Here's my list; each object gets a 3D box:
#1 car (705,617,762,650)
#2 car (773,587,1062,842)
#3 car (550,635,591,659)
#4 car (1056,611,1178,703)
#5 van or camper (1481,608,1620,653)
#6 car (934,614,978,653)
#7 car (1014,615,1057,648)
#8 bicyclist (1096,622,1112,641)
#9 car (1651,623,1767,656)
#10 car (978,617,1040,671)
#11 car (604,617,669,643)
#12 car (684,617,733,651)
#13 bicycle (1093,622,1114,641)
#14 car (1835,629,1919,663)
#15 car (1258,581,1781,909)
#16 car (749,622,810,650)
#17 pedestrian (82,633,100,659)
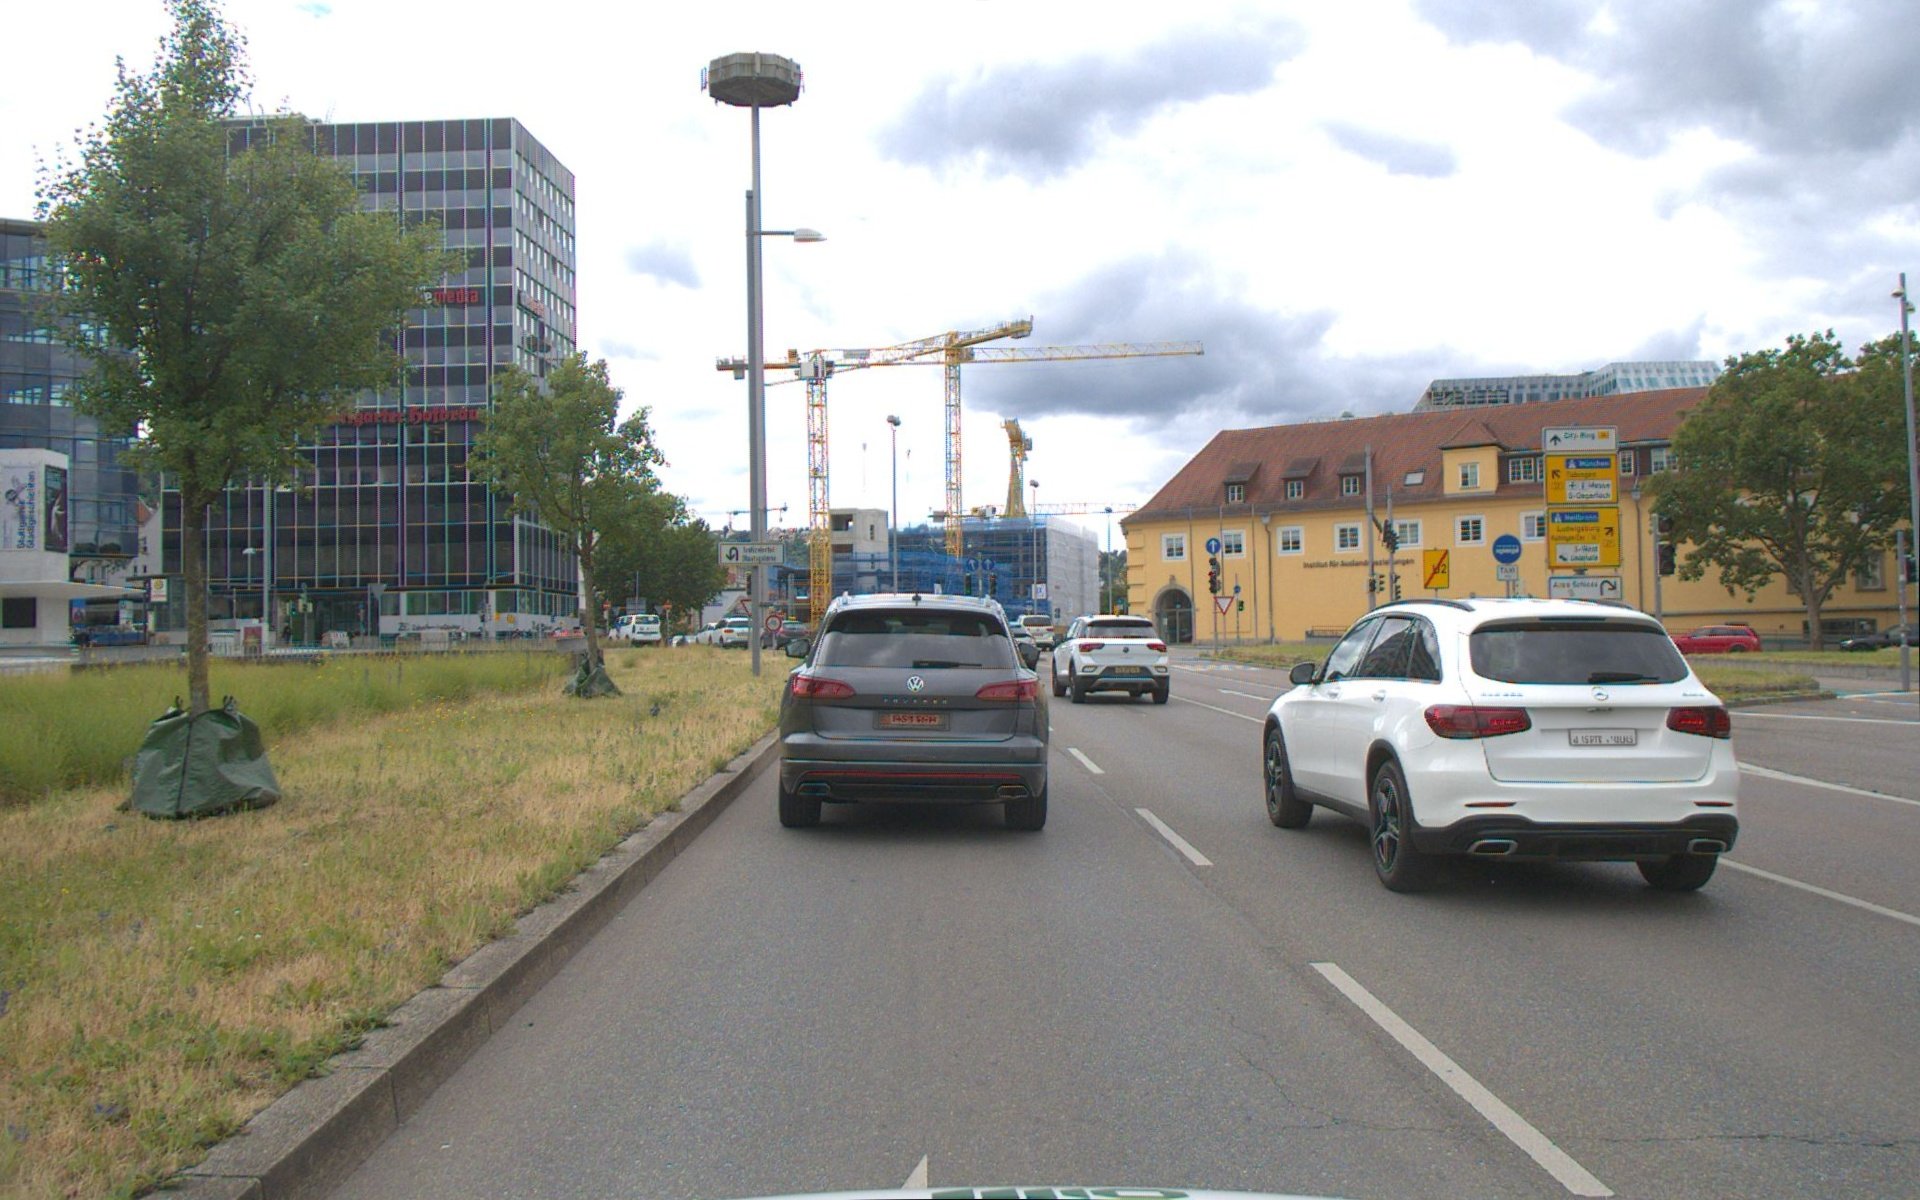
[{"bbox_3d":[-10.888,1.603,79.352,1.789,1.523,3.879,0,-1,-22],"label":"car"},{"bbox_3d":[-0.319,0.766,12.882,1.893,1.676,3.999,0,0,-1],"label":"car"},{"bbox_3d":[-25.933,3.109,110.016,1.700,1.529,3.943,1,-1,-29],"label":"car"},{"bbox_3d":[2.853,1.015,30.839,1.855,1.613,3.800,0,0,-1],"label":"car"},{"bbox_3d":[27.987,1.460,78.489,5.901,2.049,2.013,-1,-2,35],"label":"van or camper"},{"bbox_3d":[-0.144,1.370,68.071,1.683,1.529,3.981,0,-1,1],"label":"car"},{"bbox_3d":[3.523,1.451,77.589,1.766,1.529,3.980,0,0,-1],"label":"car"},{"bbox_3d":[9.161,2.011,105.476,0.905,1.179,0.724,1,-1,-6],"label":"bicyclist"},{"bbox_3d":[33.786,1.784,74.653,4.591,1.445,1.593,-1,-1,31],"label":"car"},{"bbox_3d":[1.405,1.257,48.651,1.683,1.529,4.143,0,0,0],"label":"car"},{"bbox_3d":[-19.710,1.811,100.677,2.226,1.529,4.553,0,-1,-35],"label":"car"},{"bbox_3d":[-15.180,2.027,99.817,1.870,1.638,3.969,-3,4,-25],"label":"car"},{"bbox_3d":[9.165,1.993,105.472,0.905,1.179,2.462,1,-1,-5],"label":"bicycle"},{"bbox_3d":[39.864,1.976,71.024,4.001,1.438,1.655,-1,-1,31],"label":"car"},{"bbox_3d":[3.271,0.755,10.679,1.782,1.676,4.377,0,0,-2],"label":"car"},{"bbox_3d":[-9.326,1.854,85.315,1.626,1.421,3.553,1,-1,-35],"label":"car"},{"bbox_3d":[-37.529,1.997,71.422,0.465,1.100,0.560,0,-1,0],"label":"pedestrian"}]
